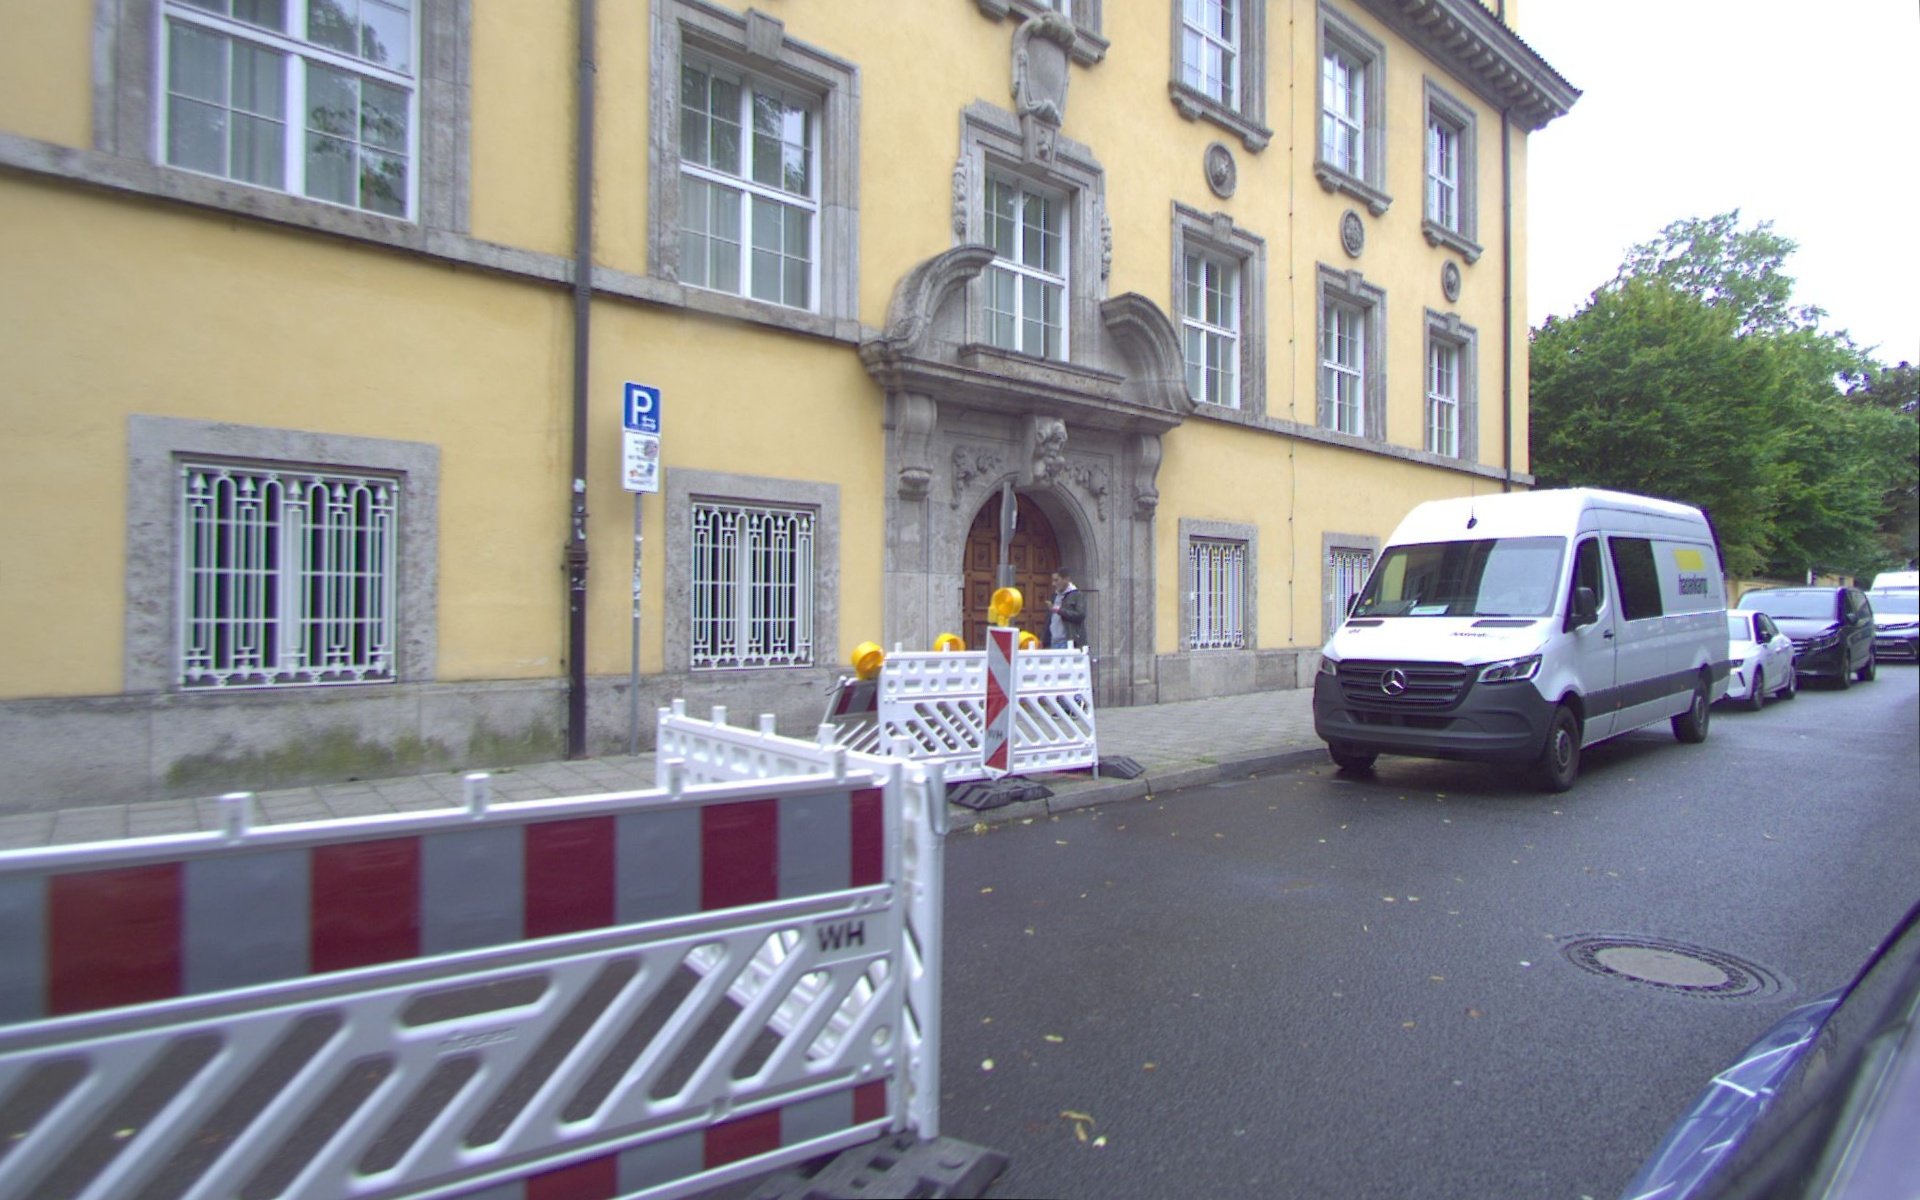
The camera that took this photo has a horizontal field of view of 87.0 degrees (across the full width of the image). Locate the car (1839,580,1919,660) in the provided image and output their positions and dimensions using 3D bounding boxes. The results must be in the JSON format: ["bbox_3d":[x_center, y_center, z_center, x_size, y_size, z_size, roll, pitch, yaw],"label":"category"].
[{"bbox_3d":[24.812,0.486,26.661,5.078,1.931,2.014,0,-2,-44],"label":"car"}]

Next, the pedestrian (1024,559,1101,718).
[{"bbox_3d":[1.214,0.426,12.040,0.572,1.826,0.702,-1,2,-40],"label":"pedestrian"}]

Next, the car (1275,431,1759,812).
[{"bbox_3d":[6.182,0.120,10.477,7.484,2.707,2.057,-1,0,-42],"label":"car"}]

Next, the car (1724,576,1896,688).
[{"bbox_3d":[16.460,0.519,19.501,4.901,1.892,1.873,-1,0,-42],"label":"car"}]

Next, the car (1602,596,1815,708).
[{"bbox_3d":[11.725,0.703,15.748,4.182,1.476,1.873,-1,0,-42],"label":"car"}]

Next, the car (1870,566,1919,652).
[{"bbox_3d":[30.211,0.214,31.568,5.642,2.519,2.098,-1,0,-42],"label":"car"}]
